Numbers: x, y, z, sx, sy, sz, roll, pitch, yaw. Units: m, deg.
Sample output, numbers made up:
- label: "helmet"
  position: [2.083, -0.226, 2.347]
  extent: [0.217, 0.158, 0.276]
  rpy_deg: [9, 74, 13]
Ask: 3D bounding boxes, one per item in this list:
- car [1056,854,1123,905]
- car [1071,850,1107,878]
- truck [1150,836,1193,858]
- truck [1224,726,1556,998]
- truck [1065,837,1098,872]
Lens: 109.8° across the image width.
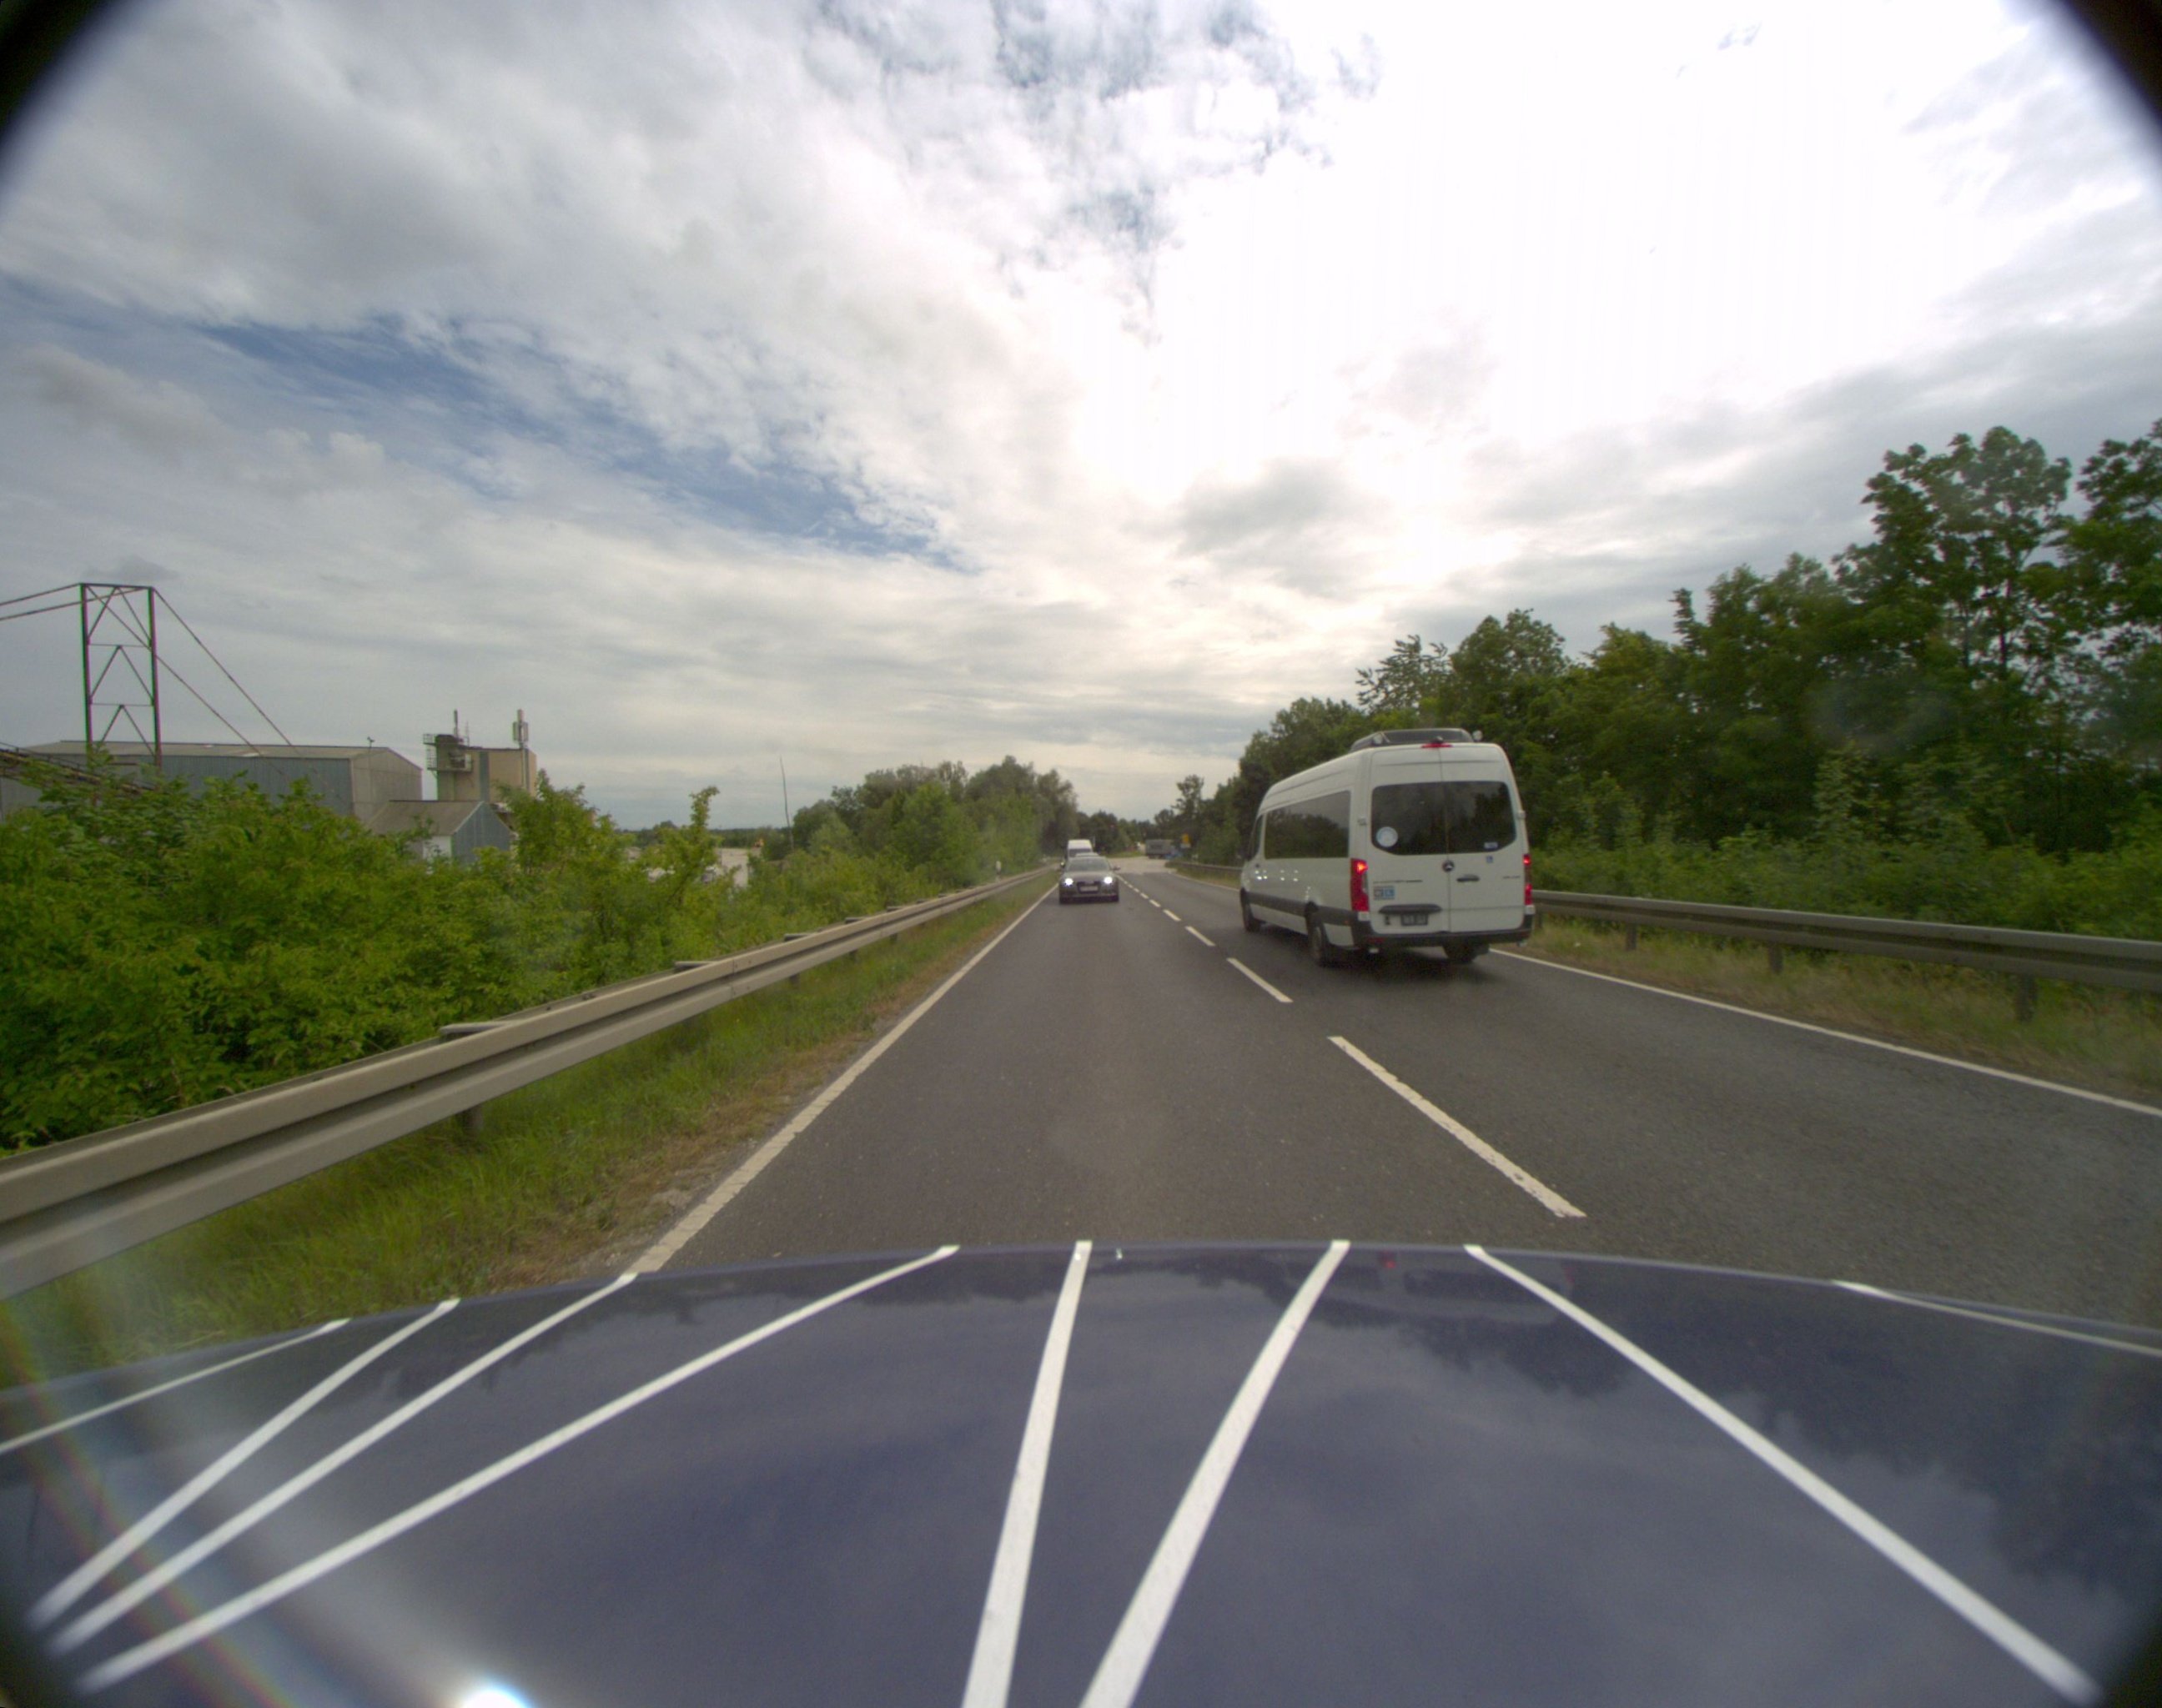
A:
- label: "car"
  position: [0.329, 0.766, 25.223]
  extent: [1.964, 1.446, 4.796]
  rpy_deg: [-2, 1, 2]
- label: "car"
  position: [0.542, 0.563, 44.936]
  extent: [1.826, 1.489, 4.225]
  rpy_deg: [2, 1, 4]
- label: "truck"
  position: [18.756, -1.560, 158.569]
  extent: [3.035, 4.325, 9.543]
  rpy_deg: [0, 2, -37]
- label: "truck"
  position: [3.842, 0.083, 11.313]
  extent: [2.070, 2.726, 7.006]
  rpy_deg: [-2, 0, 0]
- label: "truck"
  position: [0.037, -0.032, 59.741]
  extent: [2.379, 2.579, 5.997]
  rpy_deg: [1, 1, 0]
